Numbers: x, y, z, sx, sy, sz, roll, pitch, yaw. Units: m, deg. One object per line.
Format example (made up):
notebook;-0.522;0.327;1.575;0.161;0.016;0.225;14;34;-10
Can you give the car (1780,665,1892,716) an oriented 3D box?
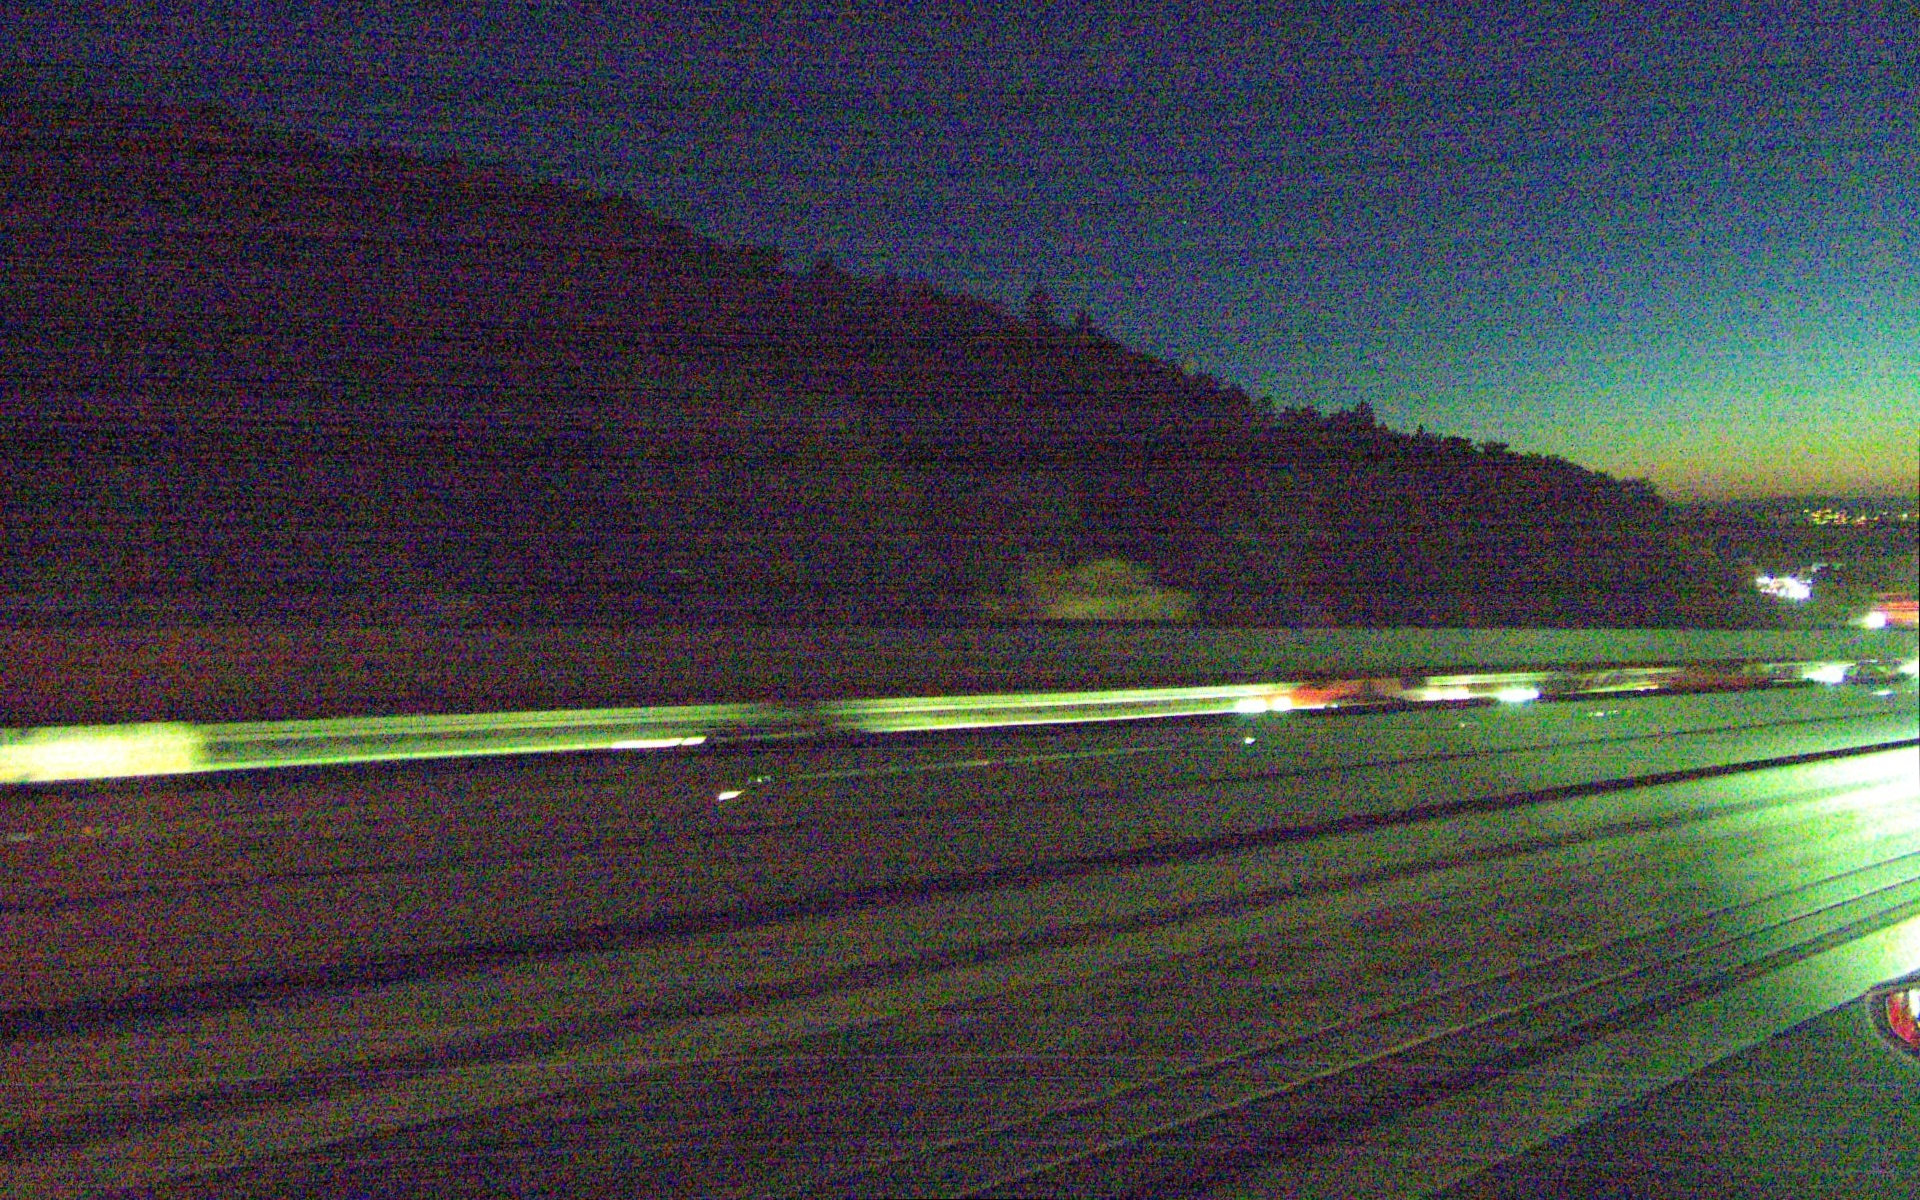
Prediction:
car;29.679;3.033;34.025;3.951;1.461;1.593;1;1;-29

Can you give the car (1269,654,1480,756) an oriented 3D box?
car;9.919;2.388;23.918;5.056;2.081;2.128;1;-2;-32

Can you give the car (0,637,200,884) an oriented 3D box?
car;-11.658;1.656;10.494;5.625;2.474;2.019;1;0;-29

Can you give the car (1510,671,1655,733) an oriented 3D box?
car;17.396;2.802;28.063;3.953;1.461;1.829;1;-1;-31

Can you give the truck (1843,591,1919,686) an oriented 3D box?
truck;44.851;1.794;47.393;6.221;4.278;3.396;1;-2;-36

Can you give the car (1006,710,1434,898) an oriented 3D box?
car;3.223;2.250;12.111;5.055;1.470;2.128;1;-2;-32

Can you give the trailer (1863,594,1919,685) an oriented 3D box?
trailer;50.182;1.972;51.206;12.705;4.296;3.413;1;-2;-36

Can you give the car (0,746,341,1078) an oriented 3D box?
car;-6.139;1.833;5.872;4.230;1.488;1.807;1;-1;-31

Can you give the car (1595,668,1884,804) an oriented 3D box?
car;12.790;2.072;16.400;5.055;1.728;2.128;1;-2;-32

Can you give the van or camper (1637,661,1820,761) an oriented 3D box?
van or camper;18.665;2.575;24.319;5.167;2.040;1.981;1;-2;-34

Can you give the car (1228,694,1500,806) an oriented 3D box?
car;7.539;2.646;18.590;5.055;1.509;2.128;1;-2;-32

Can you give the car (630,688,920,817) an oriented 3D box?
car;-2.910;2.316;16.093;4.230;1.578;1.807;1;-1;-31

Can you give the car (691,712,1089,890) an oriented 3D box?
car;-0.875;2.546;13.722;5.055;1.644;2.128;1;-2;-32

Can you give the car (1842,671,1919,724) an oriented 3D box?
car;30.272;3.114;32.516;3.957;1.461;1.591;1;-2;-33
